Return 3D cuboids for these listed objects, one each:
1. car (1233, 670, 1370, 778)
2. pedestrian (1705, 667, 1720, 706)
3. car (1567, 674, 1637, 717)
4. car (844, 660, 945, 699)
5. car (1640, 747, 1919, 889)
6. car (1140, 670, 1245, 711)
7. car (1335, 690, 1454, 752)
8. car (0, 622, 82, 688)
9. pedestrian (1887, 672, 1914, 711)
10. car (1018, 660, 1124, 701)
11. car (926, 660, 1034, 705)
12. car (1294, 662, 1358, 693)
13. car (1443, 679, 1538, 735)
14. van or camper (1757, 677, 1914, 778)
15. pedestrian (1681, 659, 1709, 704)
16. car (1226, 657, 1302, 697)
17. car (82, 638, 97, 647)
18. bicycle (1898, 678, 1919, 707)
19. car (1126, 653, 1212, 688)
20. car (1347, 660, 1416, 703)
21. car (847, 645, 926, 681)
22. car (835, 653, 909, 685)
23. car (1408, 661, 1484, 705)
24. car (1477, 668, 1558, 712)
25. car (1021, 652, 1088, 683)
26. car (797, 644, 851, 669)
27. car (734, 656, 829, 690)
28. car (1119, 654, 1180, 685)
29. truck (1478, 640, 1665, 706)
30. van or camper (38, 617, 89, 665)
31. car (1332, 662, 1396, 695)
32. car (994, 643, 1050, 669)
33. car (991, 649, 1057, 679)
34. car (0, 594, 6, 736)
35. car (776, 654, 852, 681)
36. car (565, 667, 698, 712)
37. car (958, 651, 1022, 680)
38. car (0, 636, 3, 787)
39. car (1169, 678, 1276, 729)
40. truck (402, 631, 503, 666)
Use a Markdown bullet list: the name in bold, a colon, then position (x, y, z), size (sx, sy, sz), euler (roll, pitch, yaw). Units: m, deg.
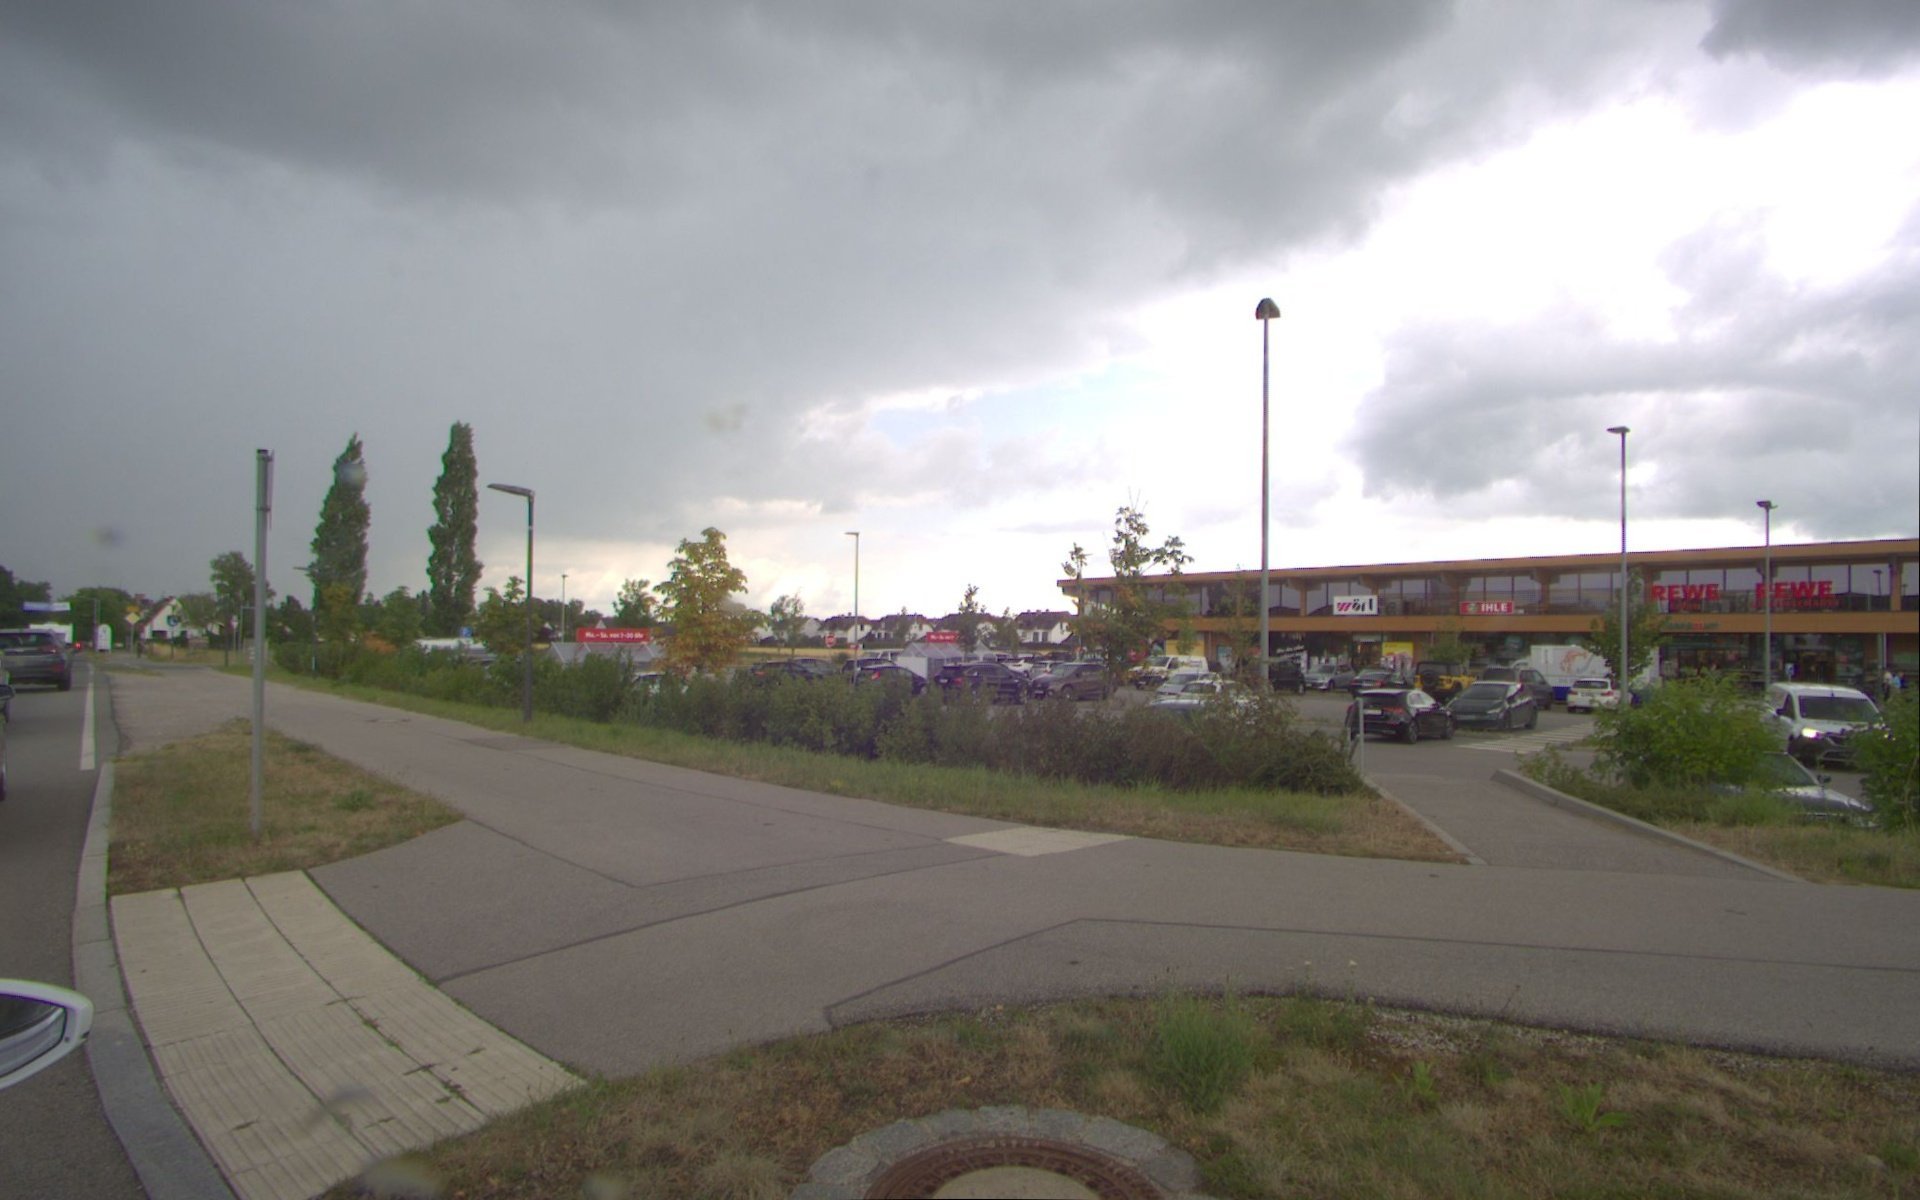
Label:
- **car**: position (4.622, 1.647, 13.940), size (1.550, 1.221, 3.756), euler (1, -4, 15)
- **pedestrian**: position (38.777, 4.435, 51.601), size (0.573, 1.973, 0.520), euler (2, -2, -42)
- **car**: position (26.060, 3.828, 40.587), size (1.713, 1.549, 3.967), euler (-1, -3, 43)
- **car**: position (-2.981, 3.619, 46.150), size (4.373, 1.685, 1.983), euler (3, -3, -42)
- **car**: position (11.536, 2.993, 14.410), size (1.551, 1.389, 3.733), euler (0, -3, 11)
- **car**: position (9.674, 3.713, 41.487), size (4.741, 1.503, 1.887), euler (3, -3, -42)
- **car**: position (12.170, 3.303, 27.942), size (1.817, 1.415, 3.965), euler (-1, -3, 44)
- **car**: position (-24.760, 1.433, 26.810), size (1.763, 1.638, 3.966), euler (2, -3, -40)
- **pedestrian**: position (42.333, 4.117, 45.071), size (0.742, 1.678, 0.798), euler (2, -2, -41)
- **car**: position (5.081, 3.606, 45.367), size (4.940, 1.685, 1.982), euler (3, -3, -42)
- **car**: position (0.867, 3.395, 41.439), size (4.421, 1.727, 1.788), euler (4, -4, -42)
- **car**: position (20.263, 4.281, 55.408), size (1.750, 1.632, 4.188), euler (-2, -4, 45)
- **car**: position (16.935, 3.347, 31.885), size (1.713, 1.572, 3.967), euler (-1, -3, 43)
- **van or camper**: position (20.812, 2.978, 24.036), size (1.738, 2.123, 4.792), euler (-1, -5, 28)
- **pedestrian**: position (33.532, 3.702, 45.679), size (0.922, 2.039, 0.799), euler (-1, -2, 44)
- **car**: position (15.798, 3.989, 51.900), size (3.962, 1.859, 1.983), euler (6, -5, -42)
- **car**: position (-127.344, 6.211, 146.484), size (1.602, 1.288, 3.432), euler (3, -3, -40)
- **bicycle**: position (44.662, 4.241, 45.540), size (0.970, 1.325, 2.844), euler (2, -3, -42)
- **car**: position (11.635, 3.882, 55.624), size (5.250, 1.853, 1.983), euler (4, -4, -42)
- **car**: position (20.069, 3.842, 47.606), size (1.754, 1.878, 3.965), euler (-1, -3, 44)
- **car**: position (-4.482, 3.866, 61.938), size (1.975, 2.039, 5.090), euler (0, -2, 38)
- **car**: position (-4.946, 3.904, 56.447), size (3.960, 1.727, 1.701), euler (3, -4, -42)
- **car**: position (22.073, 3.741, 45.427), size (3.960, 1.877, 1.757), euler (3, -4, -42)
- **car**: position (23.781, 3.792, 42.669), size (4.080, 1.746, 1.836), euler (4, -5, -43)
- **car**: position (5.952, 4.232, 62.841), size (3.956, 1.860, 1.985), euler (3, -4, -39)
- **car**: position (-11.290, 4.658, 83.122), size (3.956, 1.859, 1.985), euler (6, -5, -38)
- **car**: position (-9.303, 3.794, 52.367), size (4.525, 1.685, 1.983), euler (3, -3, -42)
- **car**: position (12.221, 4.468, 64.499), size (4.076, 1.917, 1.781), euler (4, -4, -43)
- **truck**: position (28.916, 3.380, 47.581), size (7.183, 2.842, 2.951), euler (-2, -3, 44)
- **van or camper**: position (-65.518, 3.031, 73.265), size (2.607, 3.364, 6.763), euler (3, -4, -41)
- **car**: position (21.746, 4.192, 53.843), size (3.858, 1.674, 1.751), euler (4, -4, -44)
- **car**: position (4.599, 4.148, 74.056), size (3.954, 1.863, 1.861), euler (2, -3, -38)
- **car**: position (4.161, 4.140, 64.873), size (3.954, 1.861, 1.985), euler (2, -3, -38)
- **car**: position (-15.055, 0.921, 14.401), size (1.854, 1.959, 3.963), euler (0, -1, -43)
- **car**: position (-8.862, 4.094, 60.871), size (4.280, 1.597, 1.753), euler (3, -3, -40)
- **car**: position (-12.035, 3.244, 36.827), size (4.203, 1.458, 1.983), euler (3, -3, -41)
- **car**: position (2.010, 4.367, 66.873), size (3.955, 1.860, 1.985), euler (3, -3, -38)
- **car**: position (-7.976, 0.961, 6.999), size (1.772, 1.409, 4.094), euler (2, -3, -43)
- **car**: position (8.622, 3.323, 32.720), size (1.665, 1.503, 3.962), euler (-2, -4, 44)
- **truck**: position (-28.959, 2.780, 57.248), size (1.980, 1.895, 4.771), euler (-2, -4, 44)
